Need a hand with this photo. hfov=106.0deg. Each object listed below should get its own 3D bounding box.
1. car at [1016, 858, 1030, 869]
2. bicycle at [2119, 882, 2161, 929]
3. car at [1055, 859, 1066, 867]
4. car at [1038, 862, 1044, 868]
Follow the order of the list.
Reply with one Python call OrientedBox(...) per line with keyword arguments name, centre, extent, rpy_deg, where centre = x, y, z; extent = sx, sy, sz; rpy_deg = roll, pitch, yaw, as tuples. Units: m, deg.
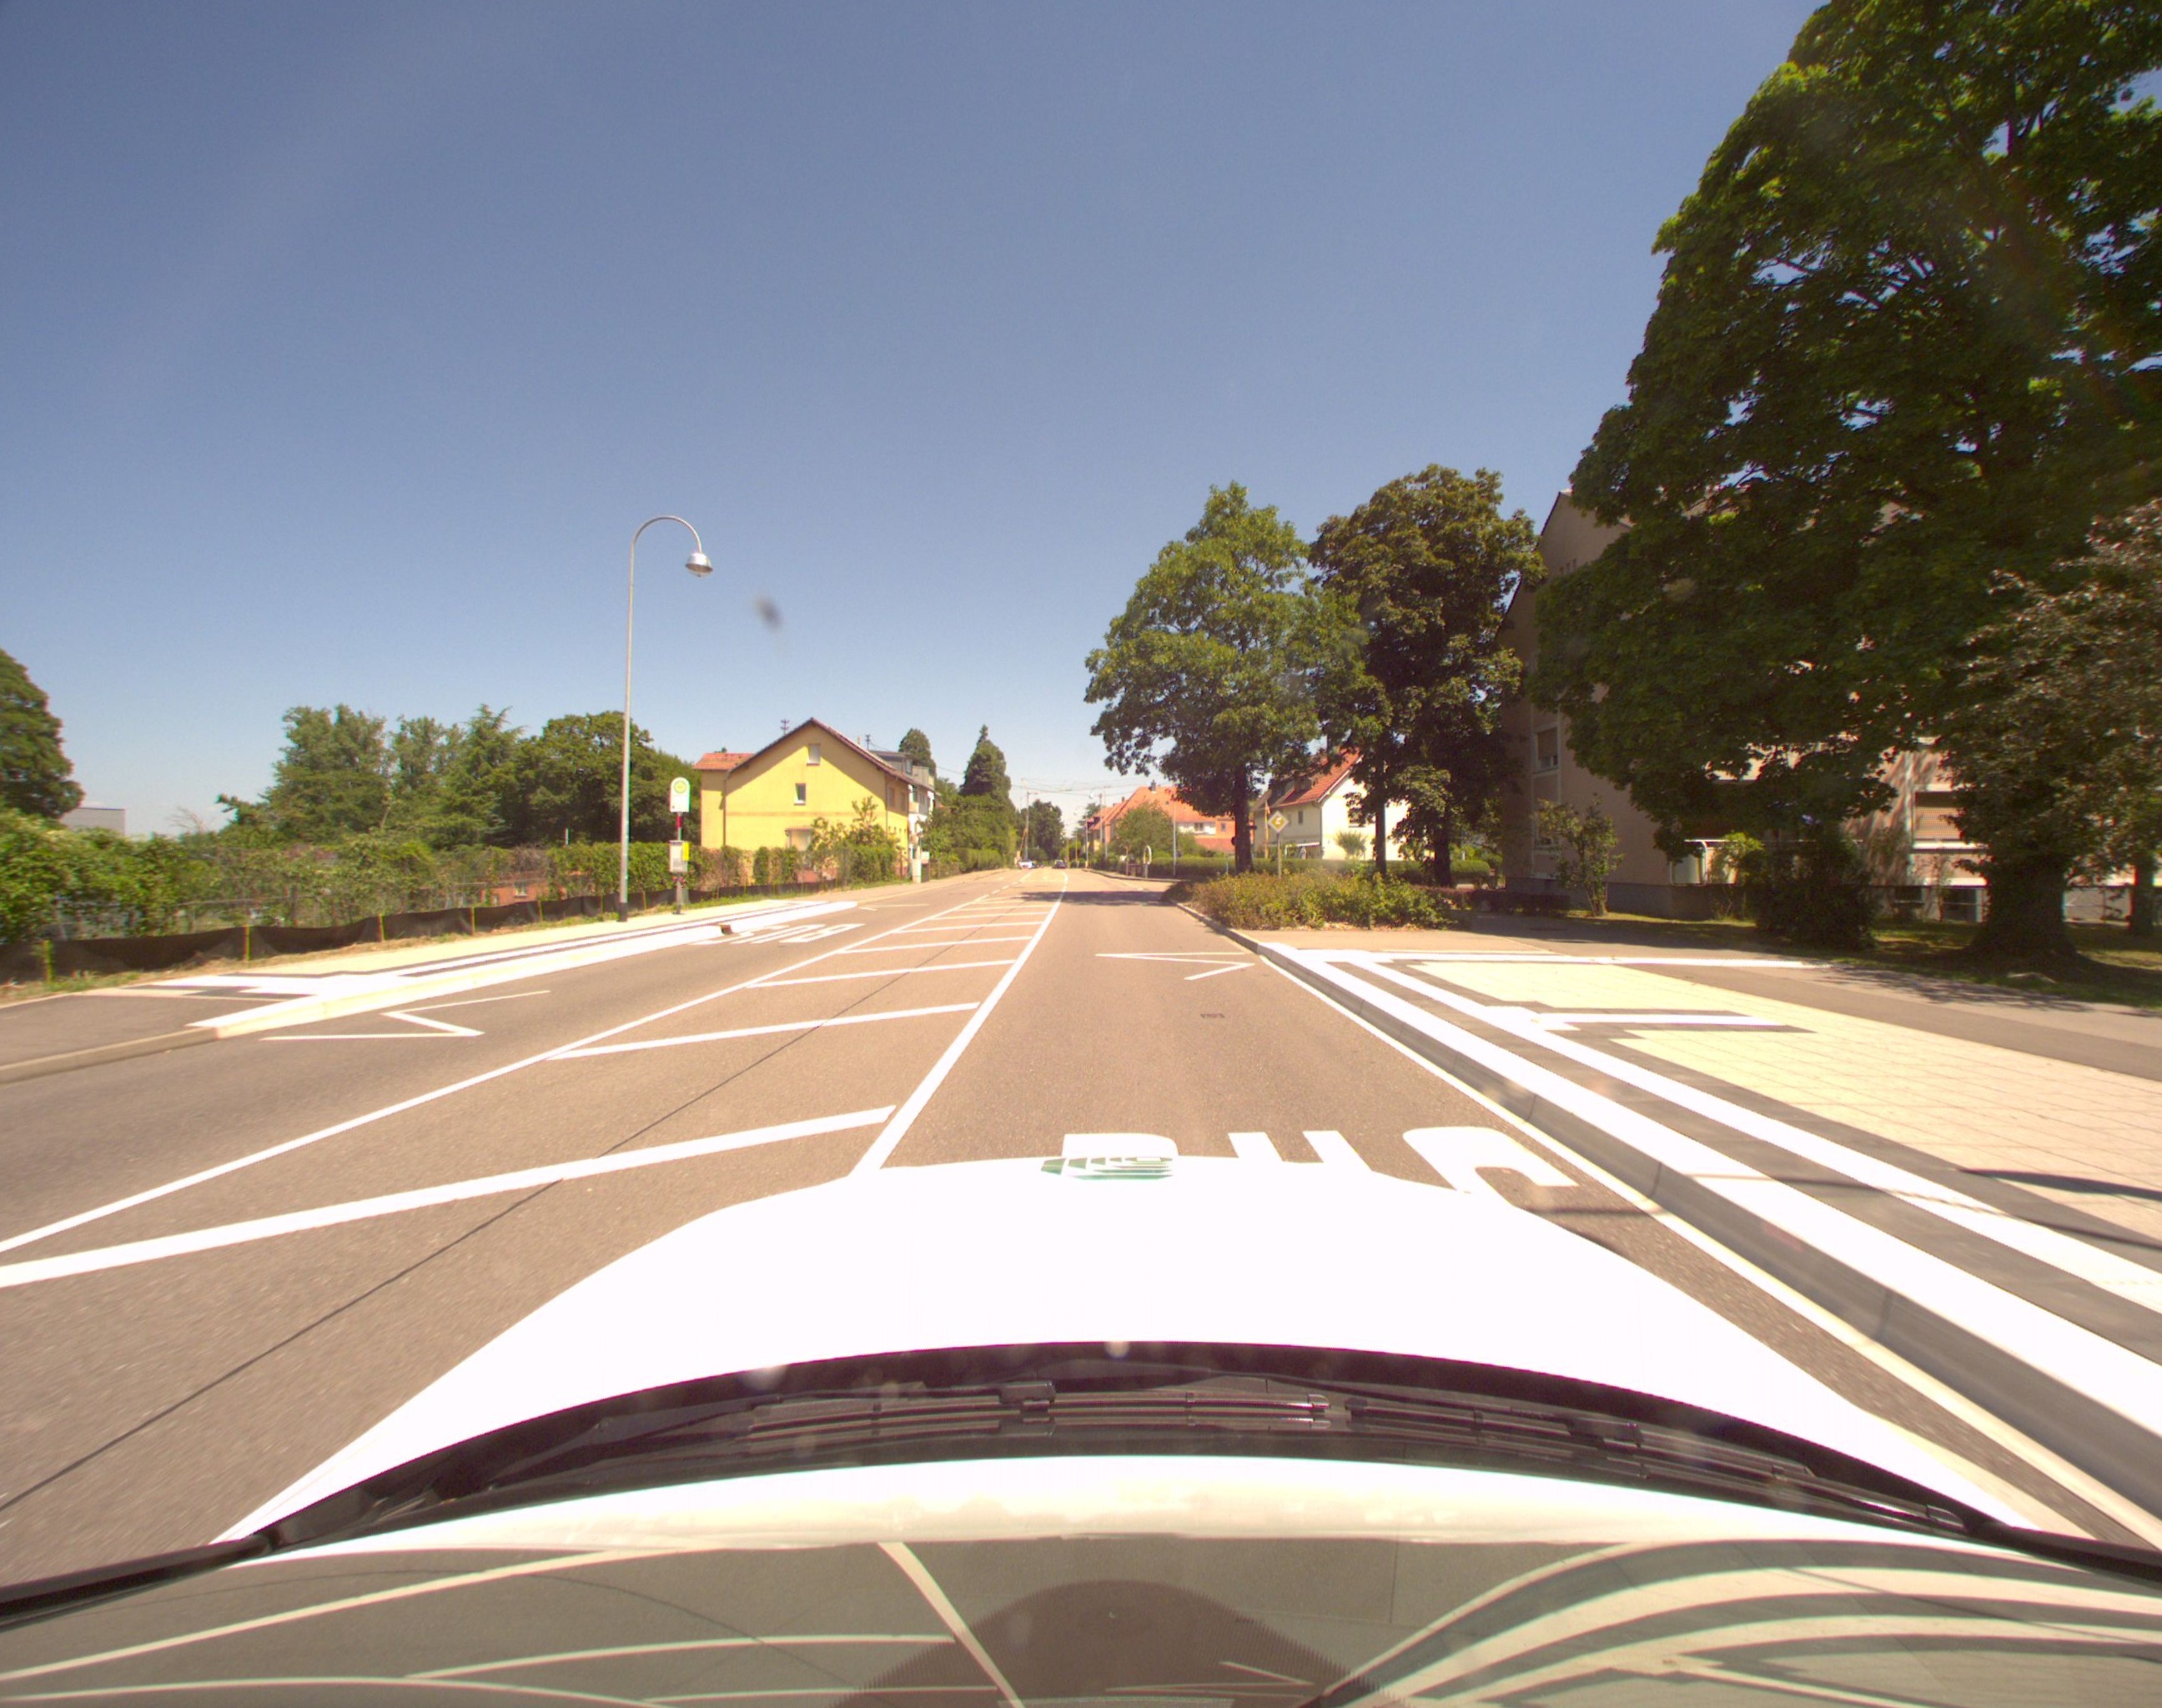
OrientedBox(name="car", centre=(-8.378, 1.360, 117.923), extent=(1.676, 1.372, 4.203), rpy_deg=(-2, 0, -2))
OrientedBox(name="bicycle", centre=(25.221, 1.193, 18.431), extent=(0.720, 1.066, 2.186), rpy_deg=(0, 0, 2))
OrientedBox(name="car", centre=(-3.800, 1.719, 150.074), extent=(1.689, 1.419, 4.544), rpy_deg=(0, -2, -4))
OrientedBox(name="car", centre=(-12.816, 3.524, 259.211), extent=(1.990, 1.850, 4.705), rpy_deg=(0, 1, -4))
